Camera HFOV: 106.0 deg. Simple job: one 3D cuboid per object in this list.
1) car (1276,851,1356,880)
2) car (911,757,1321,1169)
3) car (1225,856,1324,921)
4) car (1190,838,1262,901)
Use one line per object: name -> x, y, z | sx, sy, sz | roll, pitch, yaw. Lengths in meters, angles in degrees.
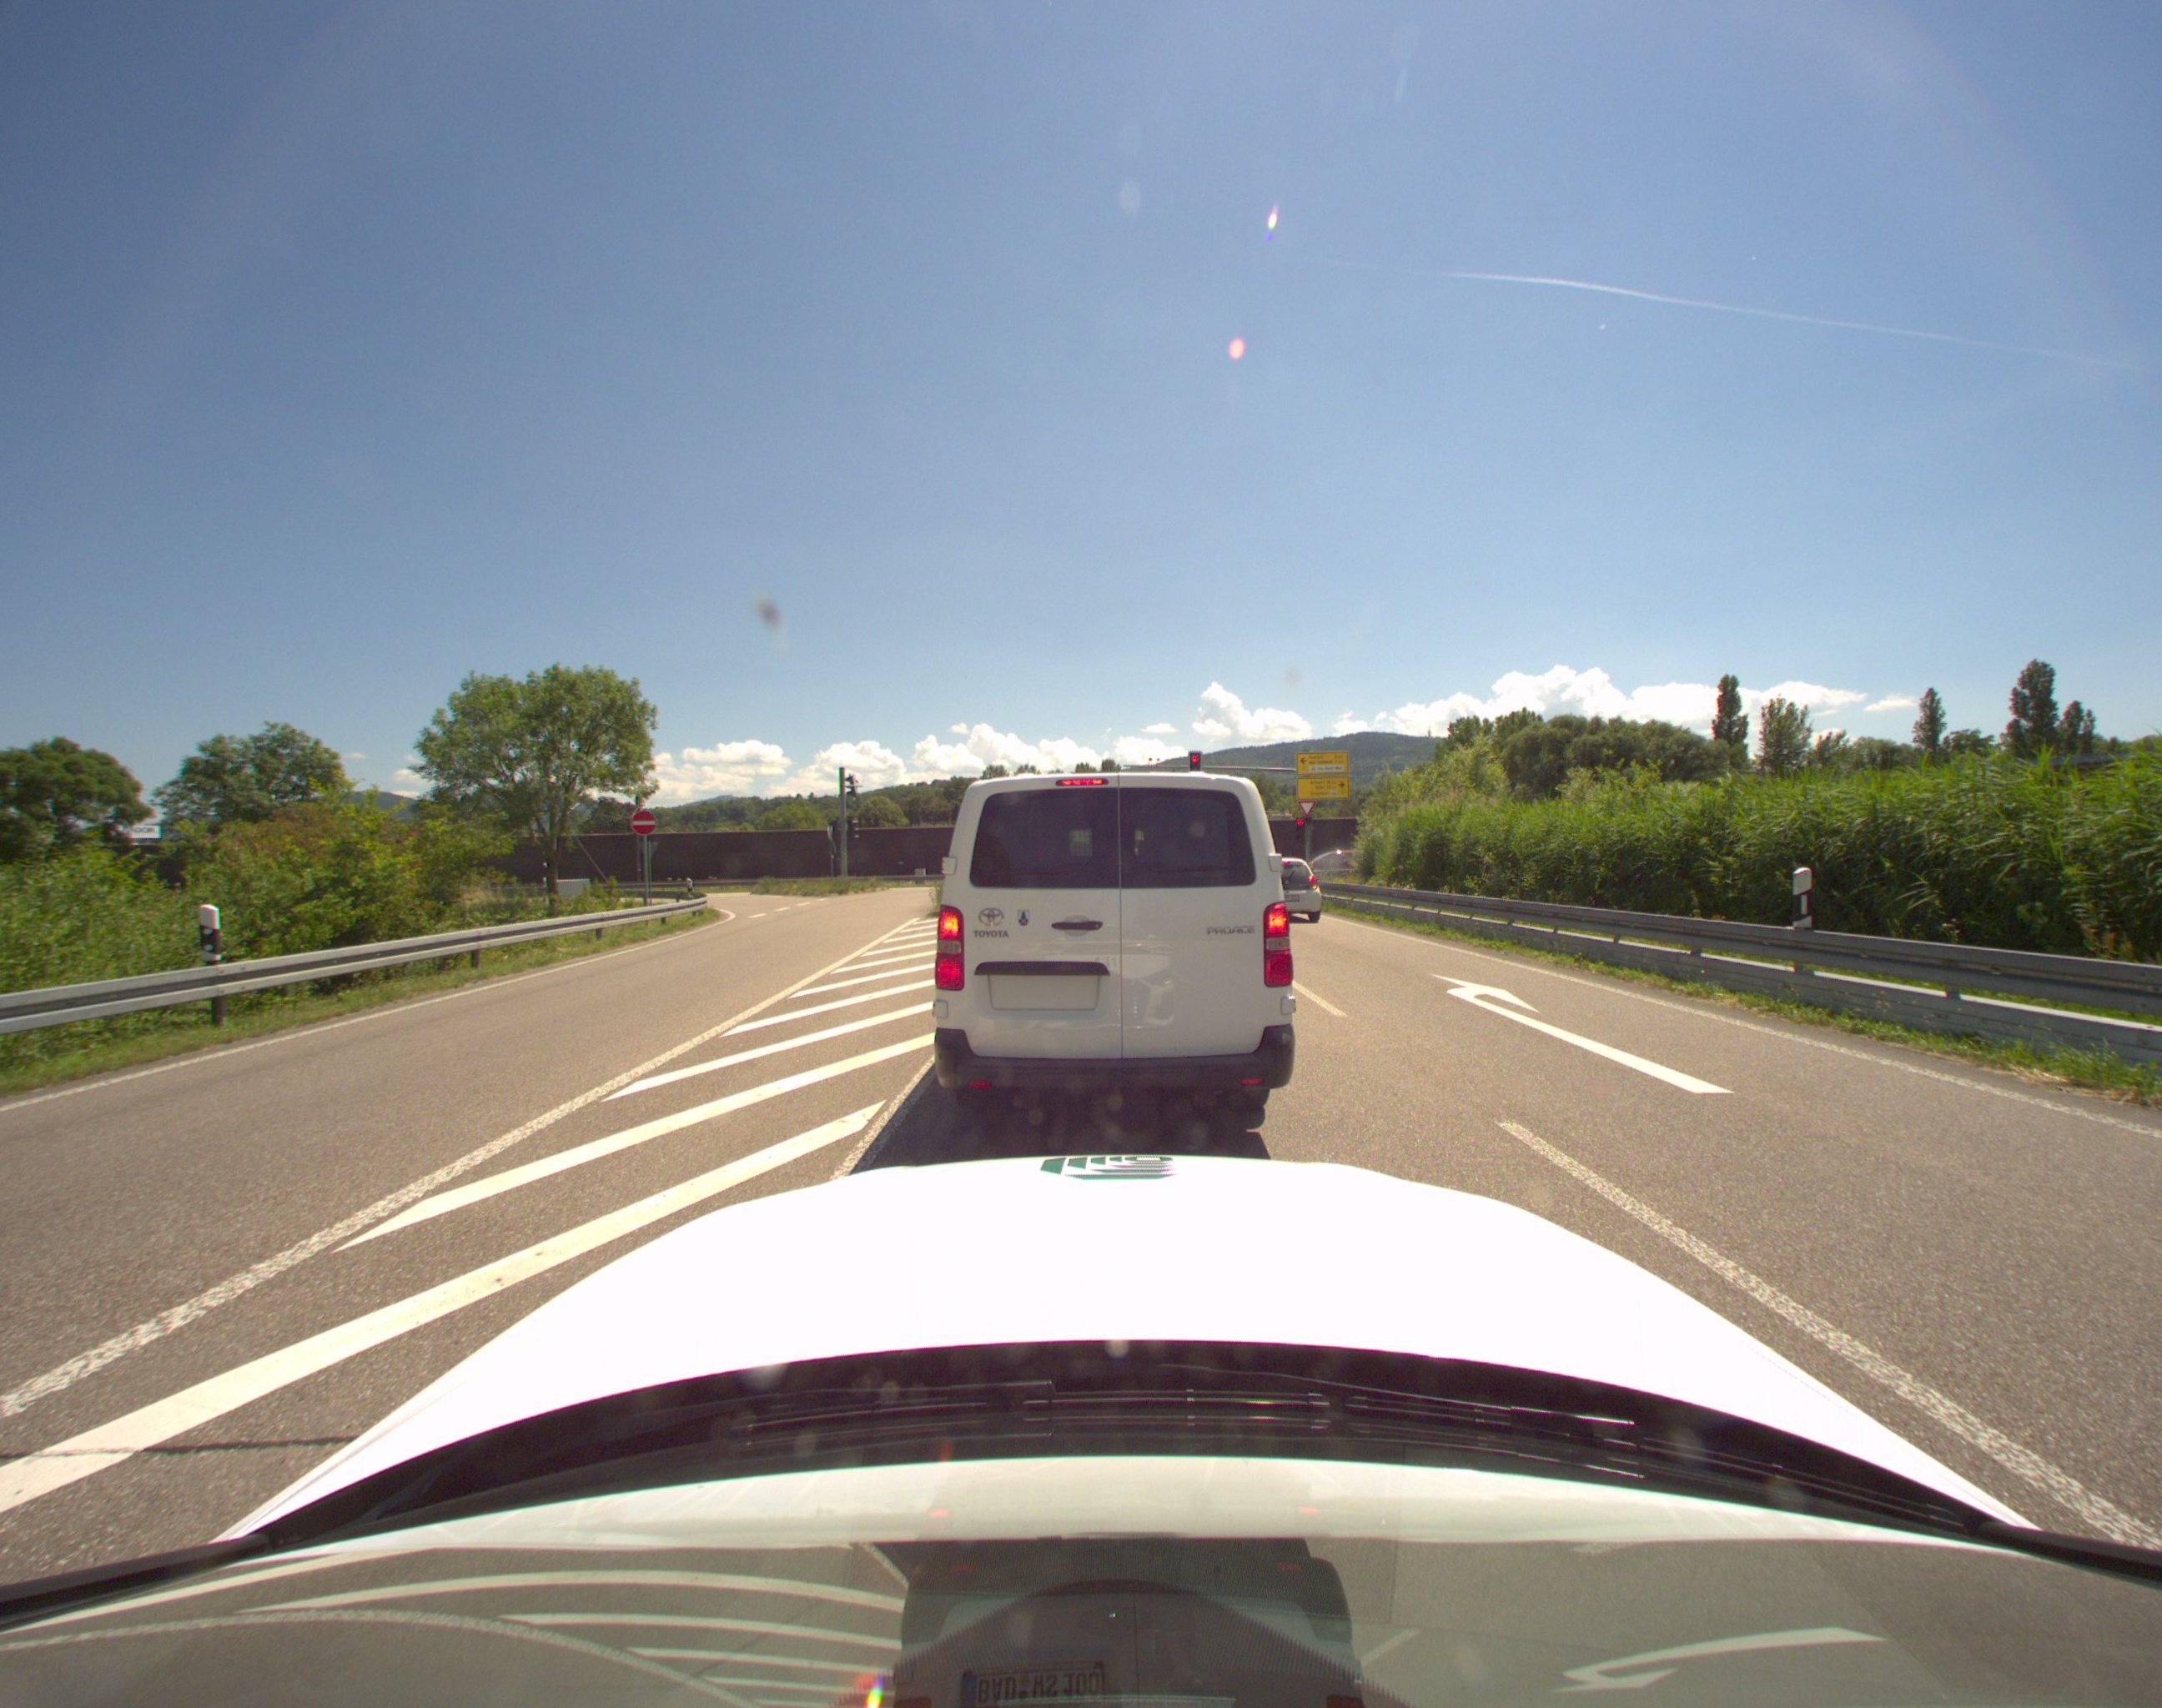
car -> 14.269, 0.685, 49.677 | 4.298, 1.656, 1.999 | -1, 0, -2
car -> 0.205, 0.517, 5.768 | 1.880, 1.886, 4.001 | -1, 0, 1
car -> 4.565, 0.770, 19.644 | 1.650, 1.431, 3.366 | -1, 0, 1
car -> 4.928, 0.502, 28.267 | 1.920, 2.000, 4.842 | -1, 0, 3
